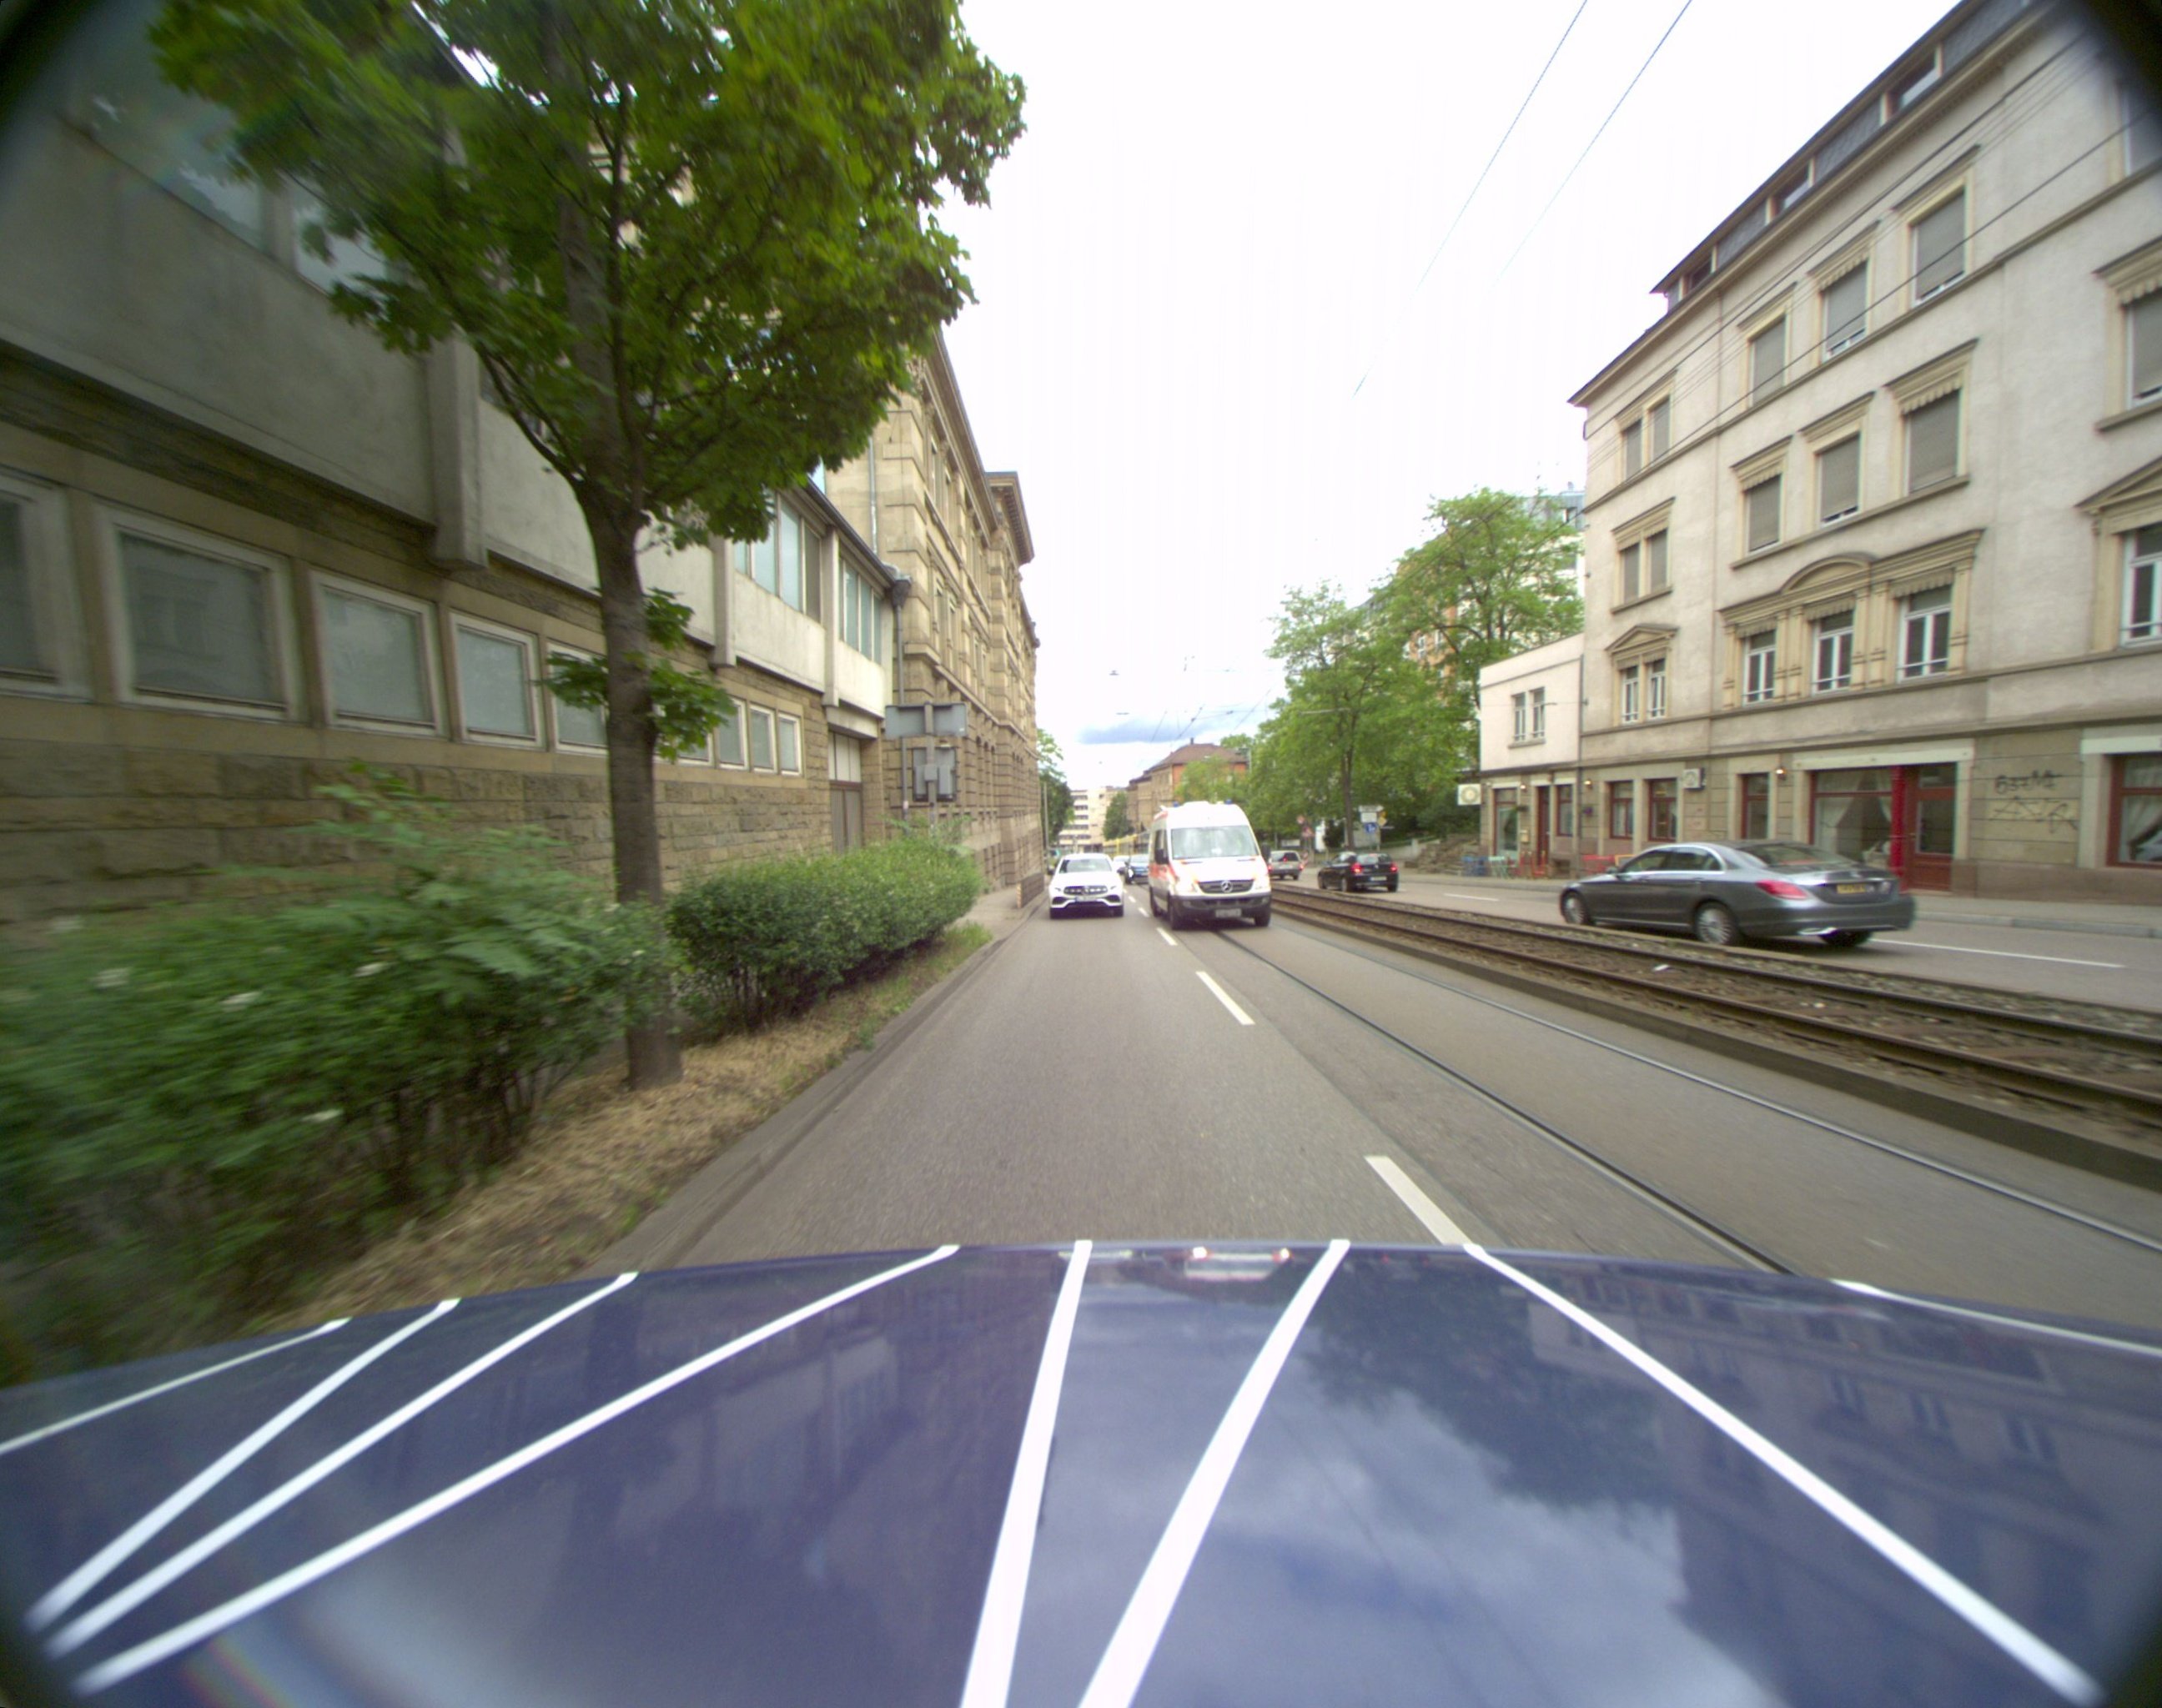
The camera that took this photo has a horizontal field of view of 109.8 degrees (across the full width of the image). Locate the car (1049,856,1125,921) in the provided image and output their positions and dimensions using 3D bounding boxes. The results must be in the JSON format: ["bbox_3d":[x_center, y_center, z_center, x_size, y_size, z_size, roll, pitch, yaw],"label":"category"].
[{"bbox_3d":[0.274,0.904,21.849,1.894,1.609,4.479,-2,0,3],"label":"car"}]

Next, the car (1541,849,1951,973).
[{"bbox_3d":[9.056,0.654,11.080,1.816,1.353,4.765,-2,0,1],"label":"car"}]

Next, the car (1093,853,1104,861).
[{"bbox_3d":[3.829,0.571,164.604,1.999,1.644,3.998,-2,0,-5],"label":"car"}]

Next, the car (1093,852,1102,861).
[{"bbox_3d":[4.145,0.585,194.040,1.872,2.250,4.747,-3,1,-4],"label":"car"}]

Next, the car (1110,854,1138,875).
[{"bbox_3d":[3.429,0.808,61.618,1.998,1.543,4.317,-2,0,1],"label":"car"}]

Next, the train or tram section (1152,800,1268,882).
[{"bbox_3d":[7.015,-0.575,45.459,2.884,3.704,18.753,-4,0,-2],"label":"train or tram section"}]

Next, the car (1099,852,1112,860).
[{"bbox_3d":[4.921,0.425,152.607,1.999,1.644,3.998,-2,0,-5],"label":"car"}]

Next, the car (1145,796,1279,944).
[{"bbox_3d":[2.689,0.326,17.142,2.038,2.684,5.855,-2,0,1],"label":"car"}]

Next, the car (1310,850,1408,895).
[{"bbox_3d":[9.334,0.578,25.890,1.835,1.356,4.162,-2,0,1],"label":"car"}]

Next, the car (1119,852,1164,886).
[{"bbox_3d":[3.167,0.771,40.546,1.931,1.562,4.180,-4,0,0],"label":"car"}]

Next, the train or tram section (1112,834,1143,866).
[{"bbox_3d":[5.950,-0.515,99.374,2.890,3.704,14.855,-4,0,0],"label":"train or tram section"}]

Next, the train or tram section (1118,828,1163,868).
[{"bbox_3d":[6.213,-0.516,82.706,2.884,3.704,18.700,-4,0,-1],"label":"train or tram section"}]

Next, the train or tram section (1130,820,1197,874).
[{"bbox_3d":[6.516,-0.487,63.930,2.884,3.704,18.753,-4,0,-2],"label":"train or tram section"}]

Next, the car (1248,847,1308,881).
[{"bbox_3d":[10.005,0.480,38.876,1.998,1.586,4.239,-2,0,1],"label":"car"}]
